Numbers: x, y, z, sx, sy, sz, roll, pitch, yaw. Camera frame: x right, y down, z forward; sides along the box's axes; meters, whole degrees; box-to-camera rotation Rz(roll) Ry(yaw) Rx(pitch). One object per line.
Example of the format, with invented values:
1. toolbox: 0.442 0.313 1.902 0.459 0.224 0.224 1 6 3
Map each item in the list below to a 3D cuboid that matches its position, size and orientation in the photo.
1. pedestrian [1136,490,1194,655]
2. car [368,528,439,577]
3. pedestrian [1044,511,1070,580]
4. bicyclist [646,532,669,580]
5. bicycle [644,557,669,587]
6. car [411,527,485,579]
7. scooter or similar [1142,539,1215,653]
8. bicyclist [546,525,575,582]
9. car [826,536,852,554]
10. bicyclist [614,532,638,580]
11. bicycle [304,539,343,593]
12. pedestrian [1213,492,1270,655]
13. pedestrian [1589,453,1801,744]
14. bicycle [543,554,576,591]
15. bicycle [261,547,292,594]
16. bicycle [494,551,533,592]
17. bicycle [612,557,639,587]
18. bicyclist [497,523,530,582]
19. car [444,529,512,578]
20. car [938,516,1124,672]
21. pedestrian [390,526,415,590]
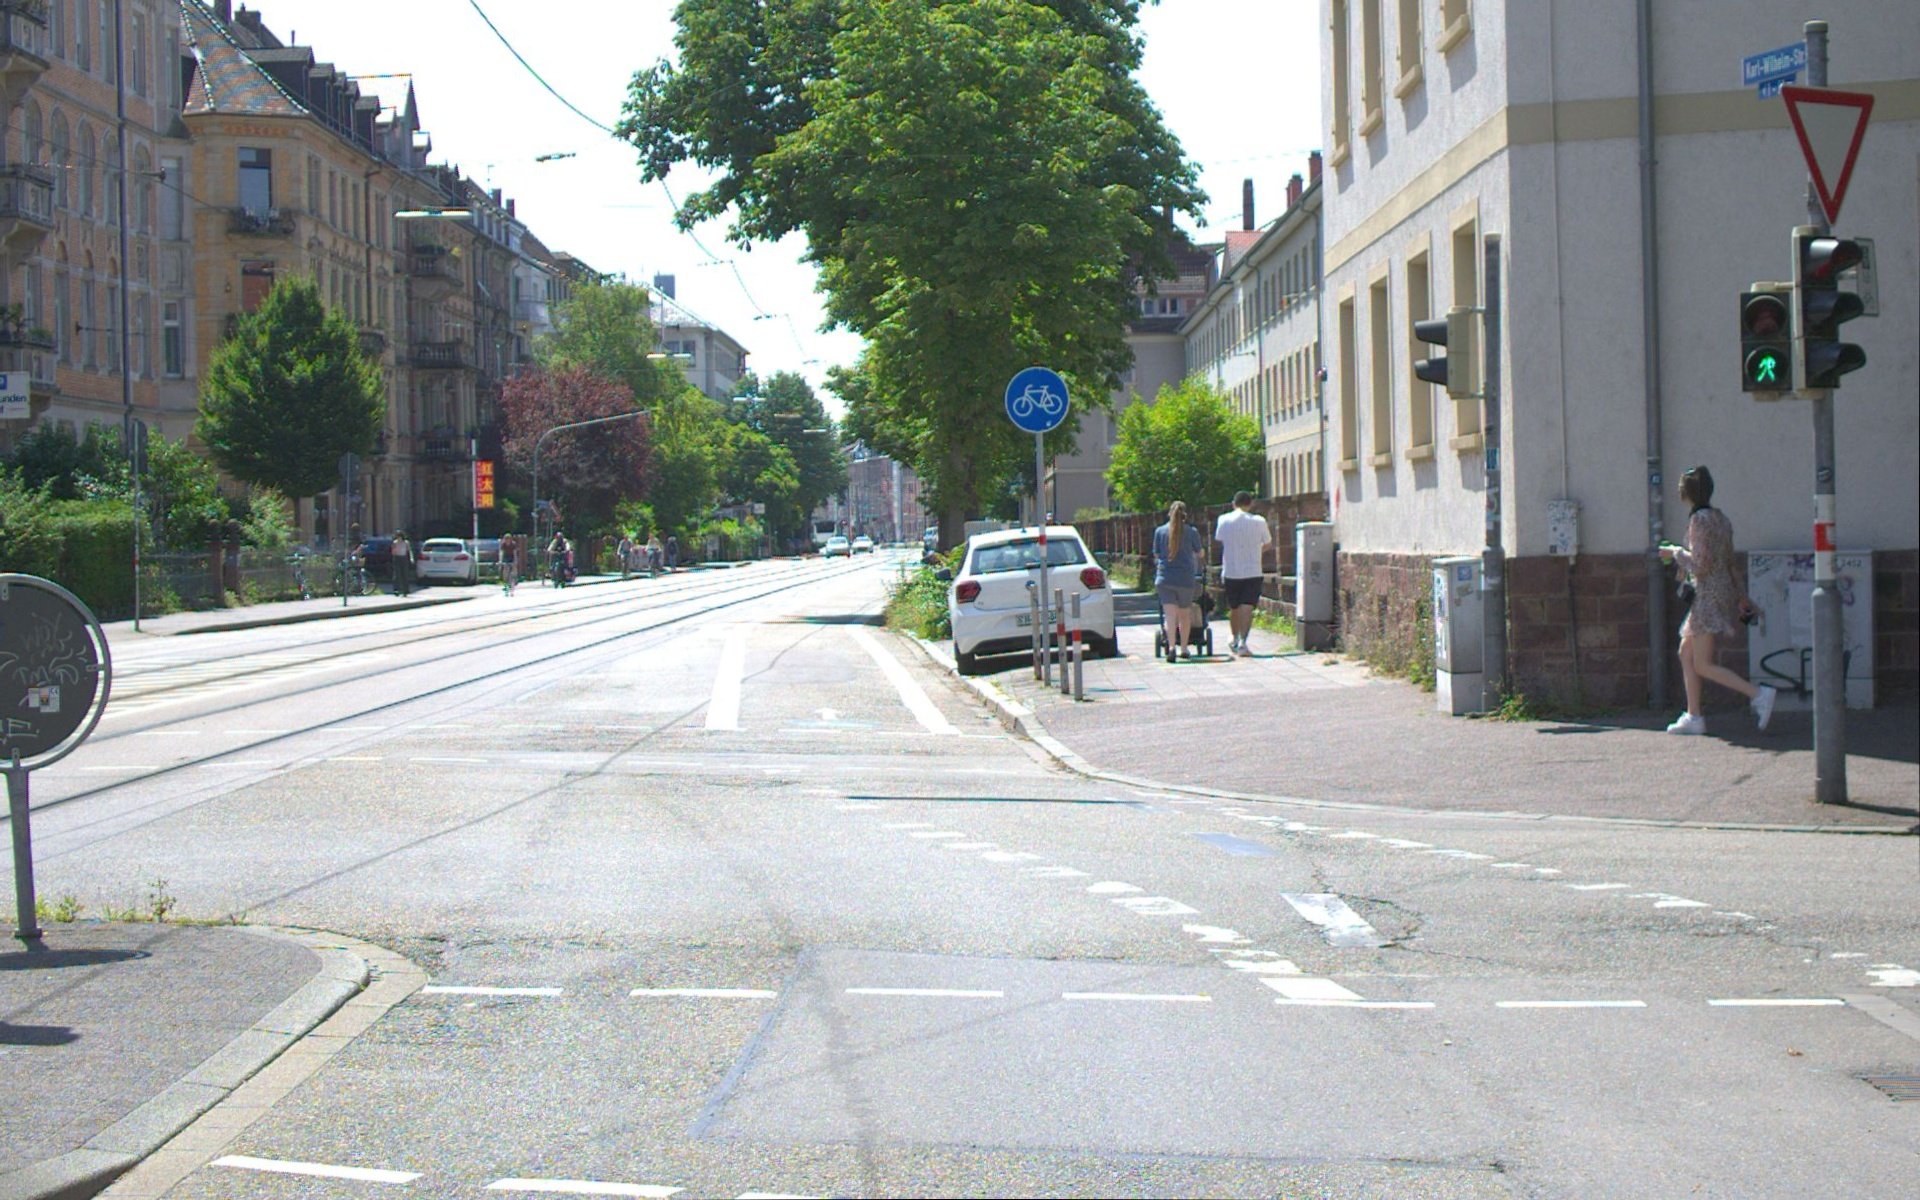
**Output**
1. pedestrian: 2.066 -0.278 34.592 0.557 1.640 0.677 1 0 5
2. car: -20.027 -1.700 123.901 1.919 1.709 4.000 1 1 -1
3. pedestrian: 2.216 -1.242 78.567 0.521 1.557 0.573 -1 1 -1
4. bicyclist: -11.451 -1.669 129.950 0.727 1.812 1.079 1 0 1
5. bicycle: -11.468 -1.065 129.967 0.727 1.119 2.085 1 1 1
6. car: -17.197 -1.577 115.564 1.919 1.709 4.000 1 1 -1
7. scooter or similar: 2.263 -0.049 35.545 0.557 1.151 1.204 1 0 12
8. bicyclist: -12.437 -1.443 106.950 0.727 1.762 1.079 1 0 1
9. car: -8.626 -3.896 244.875 1.706 1.273 4.000 1 1 -1
10. bicyclist: -12.627 -1.672 129.985 0.727 1.812 1.079 1 0 1
11. bicycle: -15.668 -0.848 84.667 0.677 1.274 1.919 -1 1 -3
12. pedestrian: 2.858 -0.270 34.936 0.557 1.640 0.677 1 0 5
13. pedestrian: 4.582 -0.009 21.411 1.055 1.684 0.653 -4 4 23
14. bicycle: -12.441 -0.861 106.832 0.727 1.119 2.085 1 1 1
15. bicycle: -15.911 -0.698 80.024 0.677 1.061 1.919 -1 1 -11
16. bicycle: -12.328 -0.790 94.963 0.727 1.119 2.085 1 1 1
17. bicycle: -12.641 -1.071 129.951 0.727 1.119 2.085 1 1 1
18. bicyclist: -12.327 -1.314 94.963 0.727 1.623 1.079 1 0 1
19. car: -17.341 -1.662 123.828 1.919 1.709 4.000 1 1 -1
20. car: 0.715 -0.082 37.308 1.815 1.511 4.000 -3 1 -1
21. pedestrian: -14.525 -1.100 89.604 0.521 1.653 0.529 -1 1 -1
